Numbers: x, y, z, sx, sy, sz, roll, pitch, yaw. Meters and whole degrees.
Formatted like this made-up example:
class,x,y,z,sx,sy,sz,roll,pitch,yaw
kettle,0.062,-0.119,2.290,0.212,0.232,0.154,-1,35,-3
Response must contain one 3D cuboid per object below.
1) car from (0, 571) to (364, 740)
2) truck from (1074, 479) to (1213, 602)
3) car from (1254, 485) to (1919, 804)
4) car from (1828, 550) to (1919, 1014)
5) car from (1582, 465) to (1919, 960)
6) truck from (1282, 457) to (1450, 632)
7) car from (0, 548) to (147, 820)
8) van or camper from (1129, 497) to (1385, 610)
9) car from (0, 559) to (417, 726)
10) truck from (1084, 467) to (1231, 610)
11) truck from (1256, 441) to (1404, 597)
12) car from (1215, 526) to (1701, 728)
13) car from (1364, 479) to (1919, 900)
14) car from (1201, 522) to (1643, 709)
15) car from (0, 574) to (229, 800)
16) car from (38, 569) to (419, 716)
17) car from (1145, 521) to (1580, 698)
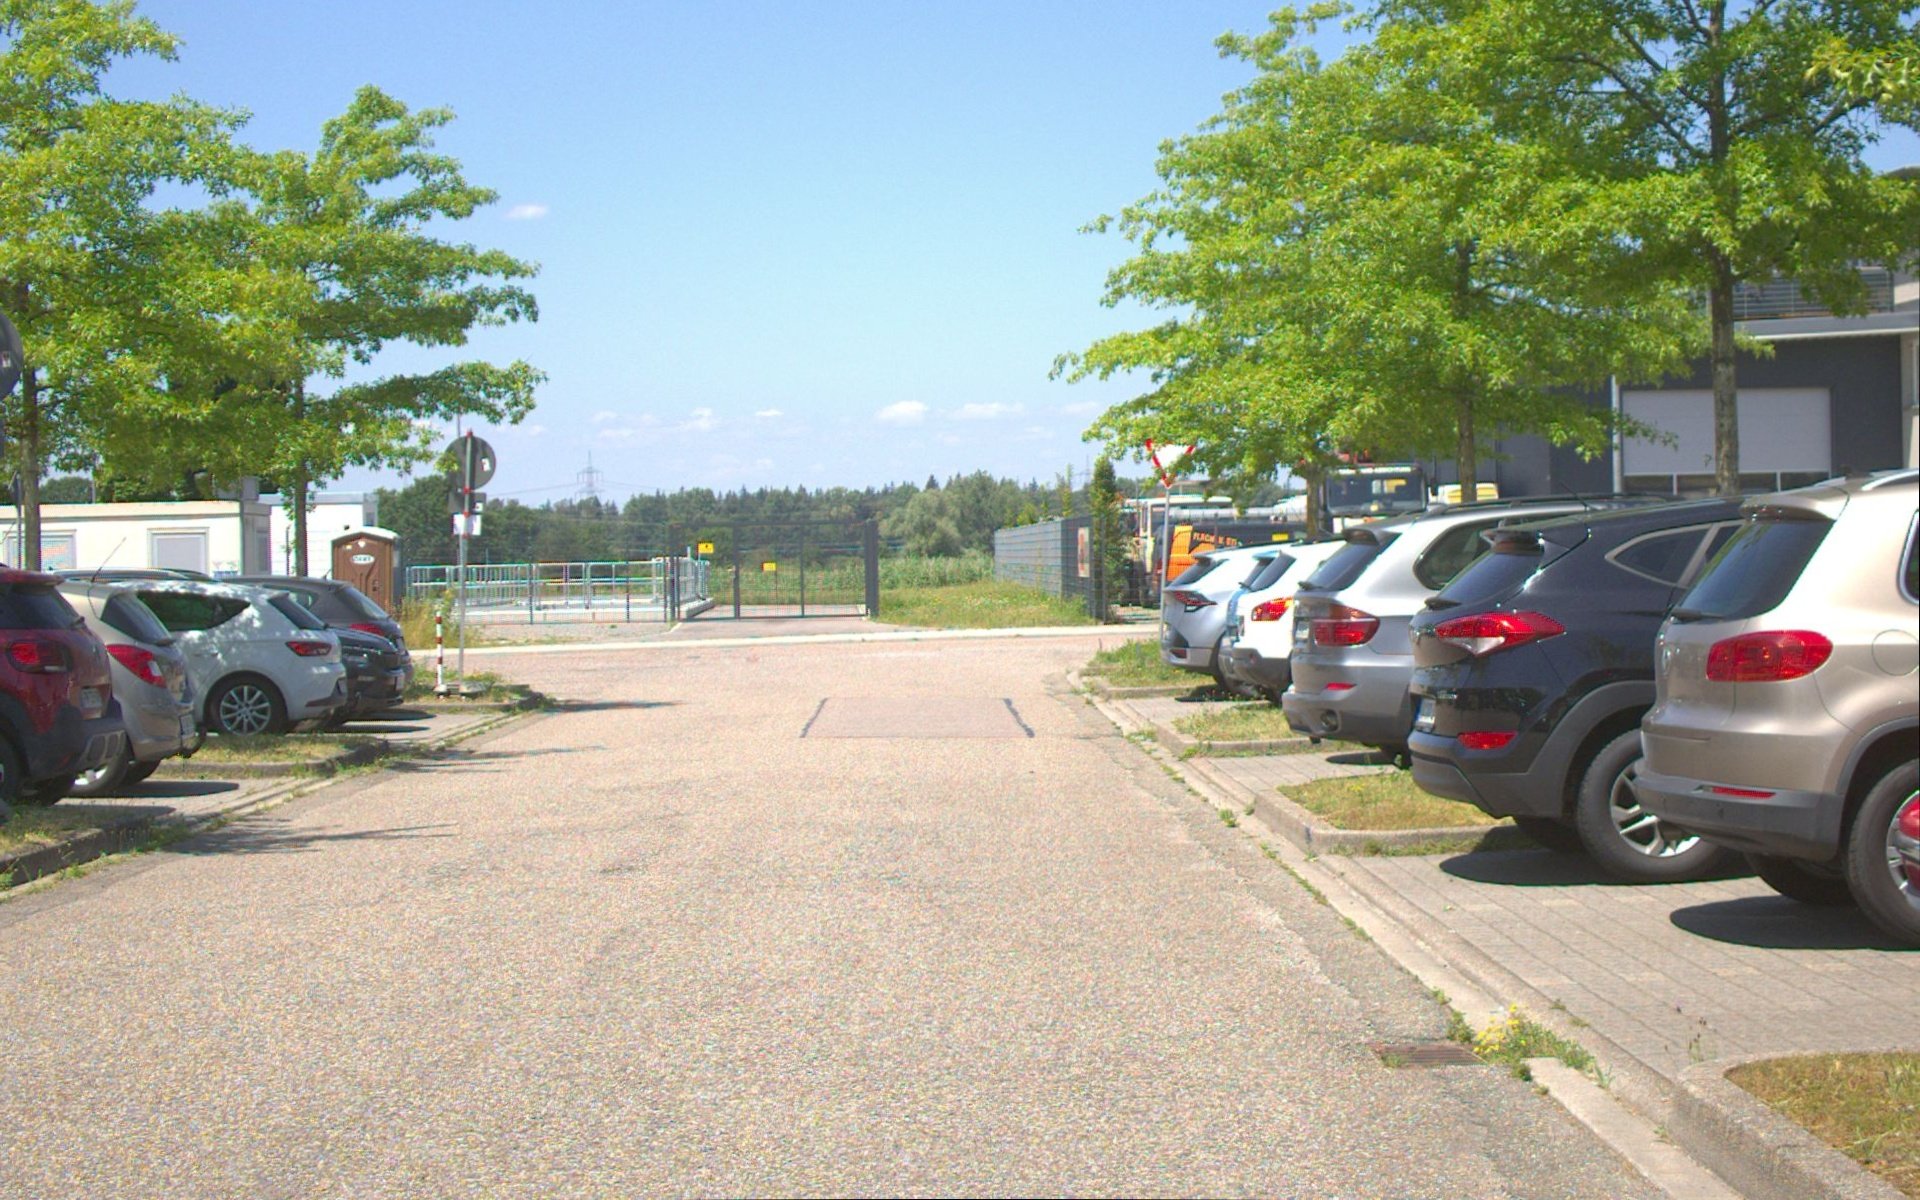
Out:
class,x,y,z,sx,sy,sz,roll,pitch,yaw
car,-7.516,0.475,30.881,4.075,1.419,1.874,1,0,-4
truck,4.591,-1.504,87.376,2.921,2.928,6.936,-1,1,-1
car,4.238,0.239,21.755,4.448,1.762,1.993,-2,1,-2
car,4.639,0.490,10.516,3.457,1.412,1.755,-2,1,-1
car,4.439,0.313,12.738,3.875,1.672,1.782,-2,1,0
truck,9.547,-1.311,81.514,2.921,3.916,6.936,-1,1,-1
car,-7.147,0.470,21.382,3.737,1.616,1.816,1,1,0
van or camper,5.959,-0.956,69.415,4.936,2.156,2.000,-1,2,-1
car,-7.345,0.391,33.306,3.927,1.515,1.785,1,0,-3
truck,4.419,-1.397,78.303,2.726,3.051,6.936,-1,1,-1
truck,9.703,-2.103,90.730,2.921,3.916,6.936,-1,1,-1
car,4.429,0.238,31.064,4.068,1.602,1.901,-2,0,1
car,4.054,0.322,15.444,4.173,1.690,1.782,-2,1,-1
car,4.456,0.135,33.560,3.987,1.638,1.838,-2,0,-1
car,-7.085,0.571,23.998,3.656,1.503,1.731,1,1,-4
car,-7.538,0.424,35.665,3.625,1.431,1.726,1,0,-3
car,4.168,0.086,36.087,4.279,1.638,1.851,-2,1,0
